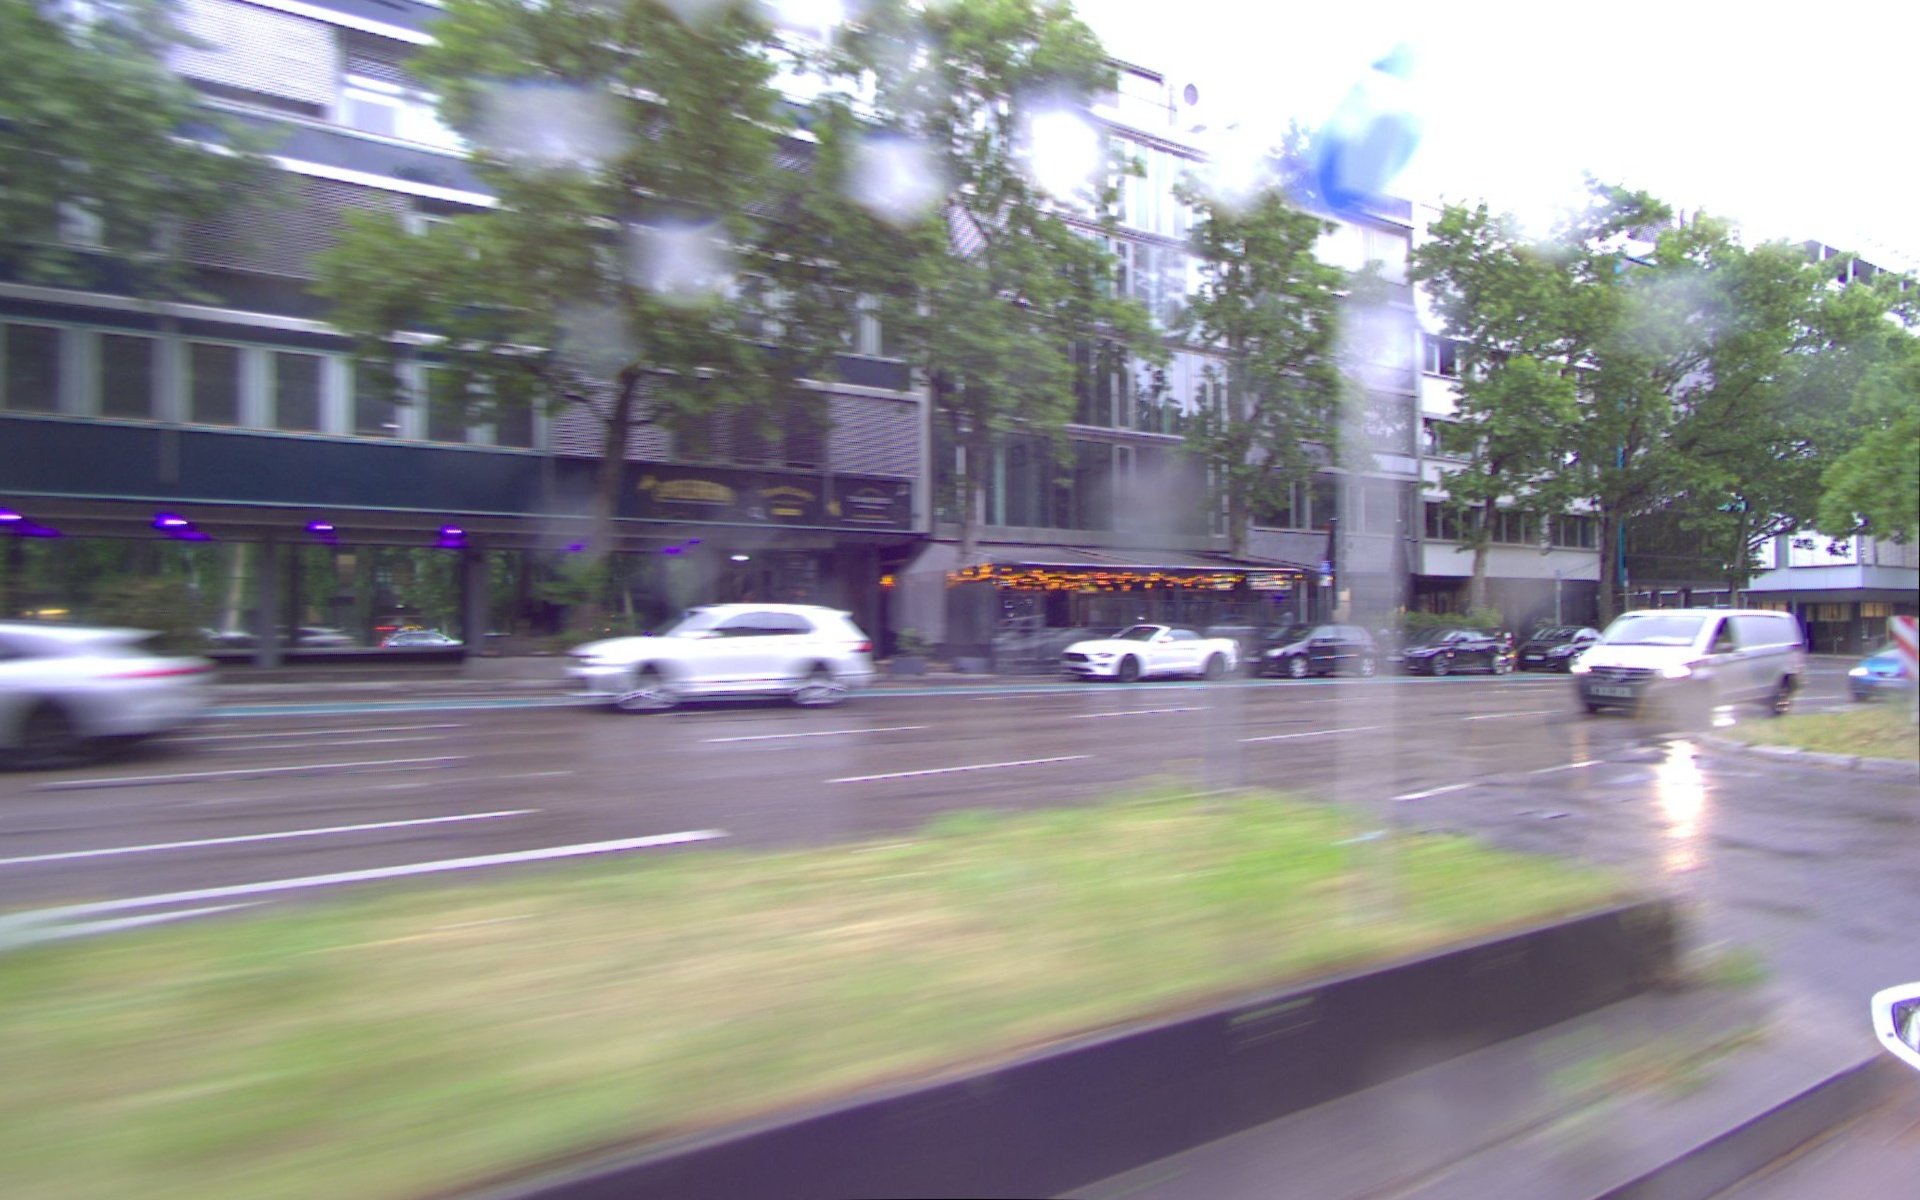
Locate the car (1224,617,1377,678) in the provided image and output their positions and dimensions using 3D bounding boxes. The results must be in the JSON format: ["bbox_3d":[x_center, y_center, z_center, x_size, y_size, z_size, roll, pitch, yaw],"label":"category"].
[{"bbox_3d":[9.239,1.233,27.198,3.953,1.528,1.828,1,-1,-30],"label":"car"}]

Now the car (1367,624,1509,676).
[{"bbox_3d":[14.348,1.447,30.095,4.404,1.428,1.685,1,-1,-30],"label":"car"}]

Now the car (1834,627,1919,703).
[{"bbox_3d":[21.970,1.434,22.880,4.344,1.502,1.834,0,0,-30],"label":"car"}]

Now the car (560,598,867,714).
[{"bbox_3d":[-3.888,0.809,16.049,4.491,1.636,1.753,0,0,-29],"label":"car"}]

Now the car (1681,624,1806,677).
[{"bbox_3d":[23.893,1.495,30.610,4.050,1.495,1.740,1,-1,-32],"label":"car"}]

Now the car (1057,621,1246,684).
[{"bbox_3d":[4.701,1.225,24.427,4.627,1.371,1.552,0,0,-30],"label":"car"}]

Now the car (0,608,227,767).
[{"bbox_3d":[-9.933,0.785,9.330,4.904,1.428,1.955,1,-1,-33],"label":"car"}]

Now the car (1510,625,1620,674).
[{"bbox_3d":[19.840,1.576,32.917,3.419,1.488,1.685,1,-1,-30],"label":"car"}]

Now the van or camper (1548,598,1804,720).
[{"bbox_3d":[13.068,0.981,18.242,5.193,1.939,1.983,1,-1,-32],"label":"van or camper"}]
